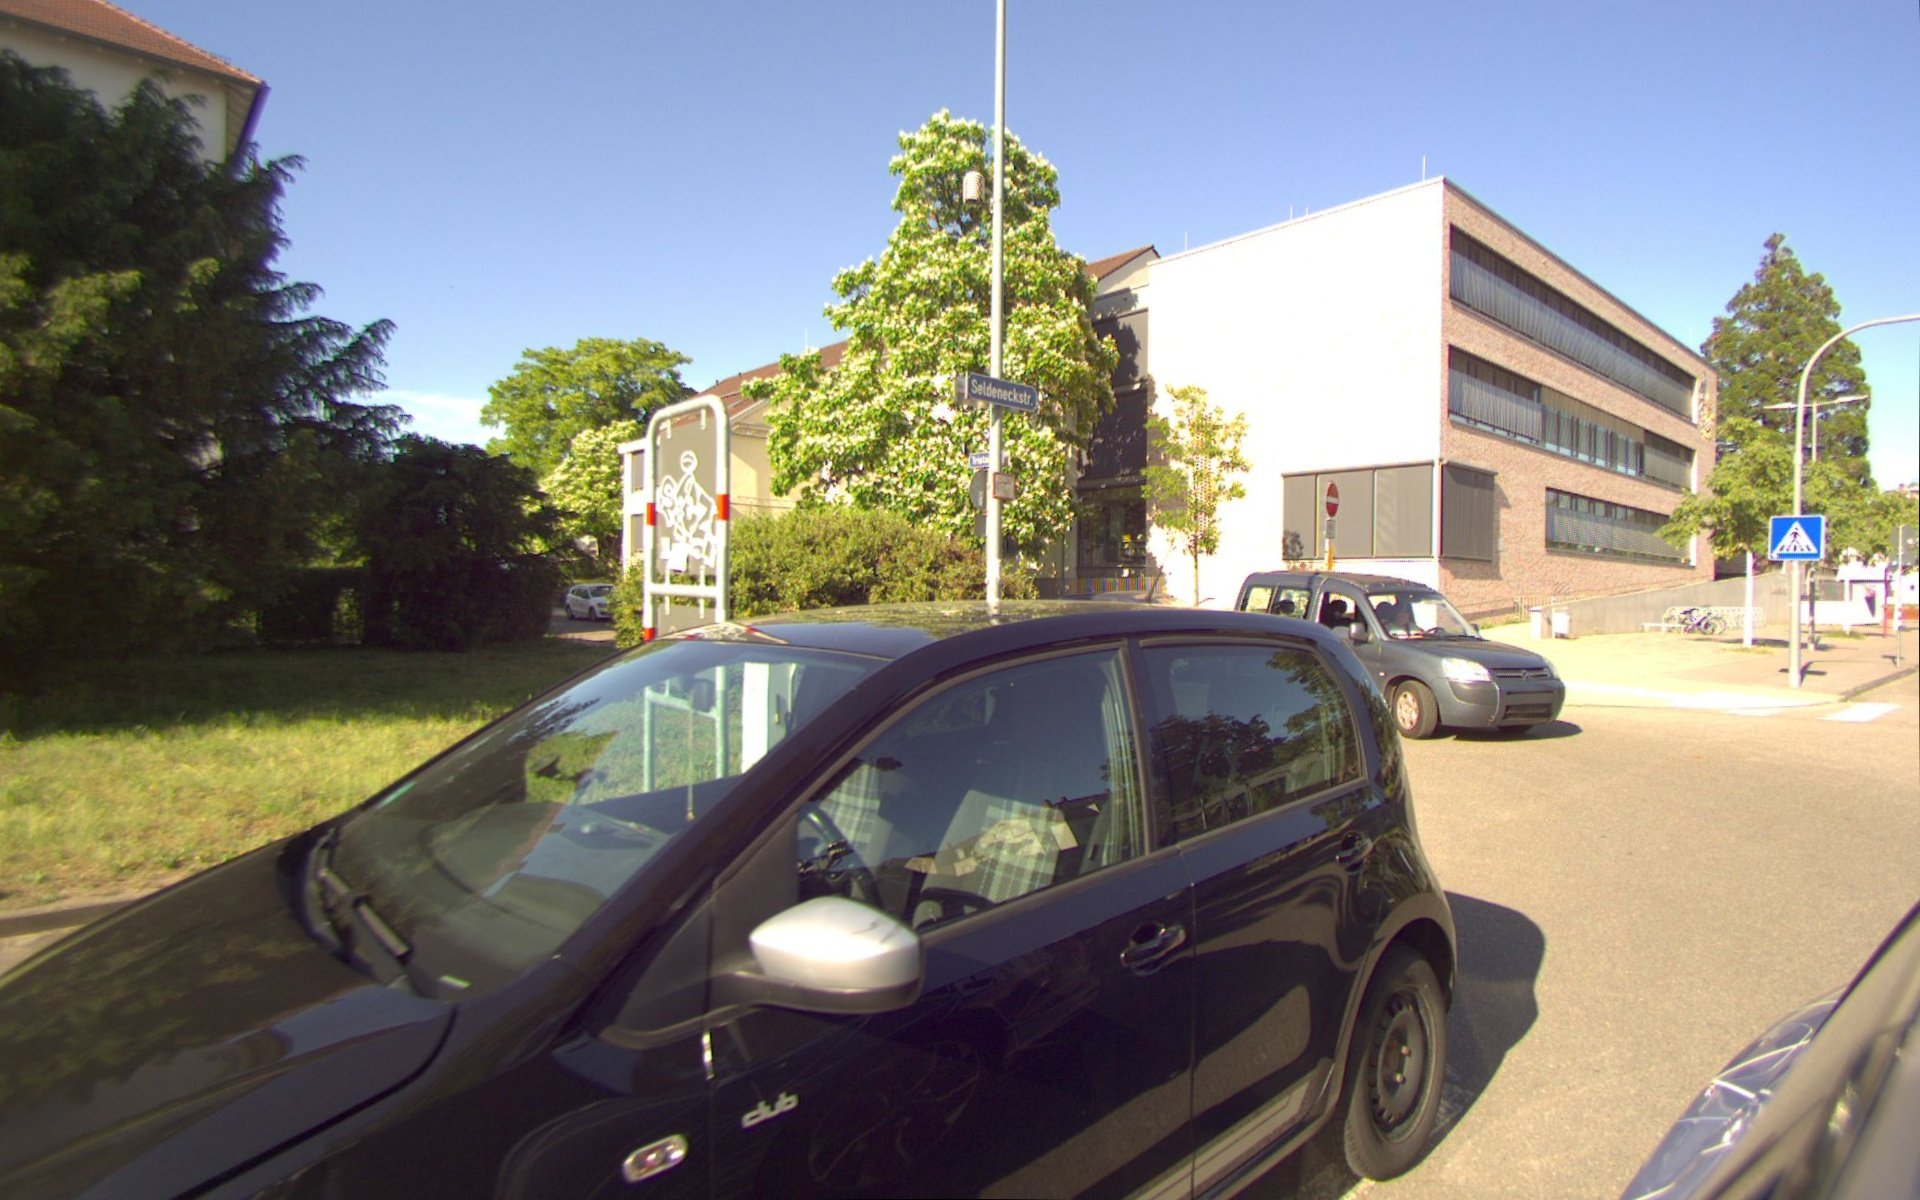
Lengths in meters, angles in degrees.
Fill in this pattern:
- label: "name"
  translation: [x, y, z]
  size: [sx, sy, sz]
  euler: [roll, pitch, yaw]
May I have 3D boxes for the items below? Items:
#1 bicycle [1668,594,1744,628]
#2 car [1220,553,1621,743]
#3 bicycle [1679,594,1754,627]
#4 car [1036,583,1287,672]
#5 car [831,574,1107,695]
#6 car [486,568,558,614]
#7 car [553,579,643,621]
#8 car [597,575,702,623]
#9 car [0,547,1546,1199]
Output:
- label: "bicycle"
  translation: [27.087, 0.368, 36.761]
  size: [0.867, 1.076, 2.029]
  euler: [0, 4, -41]
- label: "car"
  translation: [5.107, 0.429, 11.910]
  size: [1.864, 1.812, 4.165]
  euler: [0, 1, -22]
- label: "bicycle"
  translation: [28.063, 0.373, 37.568]
  size: [0.845, 1.077, 2.084]
  euler: [0, 3, -40]
- label: "car"
  translation: [3.766, 0.428, 19.527]
  size: [1.875, 1.493, 4.551]
  euler: [-1, 1, -43]
- label: "car"
  translation: [0.012, 0.429, 16.015]
  size: [1.882, 1.644, 4.412]
  euler: [0, 1, -43]
- label: "car"
  translation: [-20.389, -0.445, 47.025]
  size: [1.965, 2.039, 4.557]
  euler: [0, 1, -39]
- label: "car"
  translation: [-14.568, -0.034, 40.600]
  size: [1.898, 1.602, 4.554]
  euler: [0, 1, -41]
- label: "car"
  translation: [-11.323, -0.065, 36.716]
  size: [1.965, 1.648, 4.554]
  euler: [0, 1, -41]
- label: "car"
  translation: [-0.221, 0.707, 2.388]
  size: [3.727, 1.493, 1.661]
  euler: [0, -1, -41]
